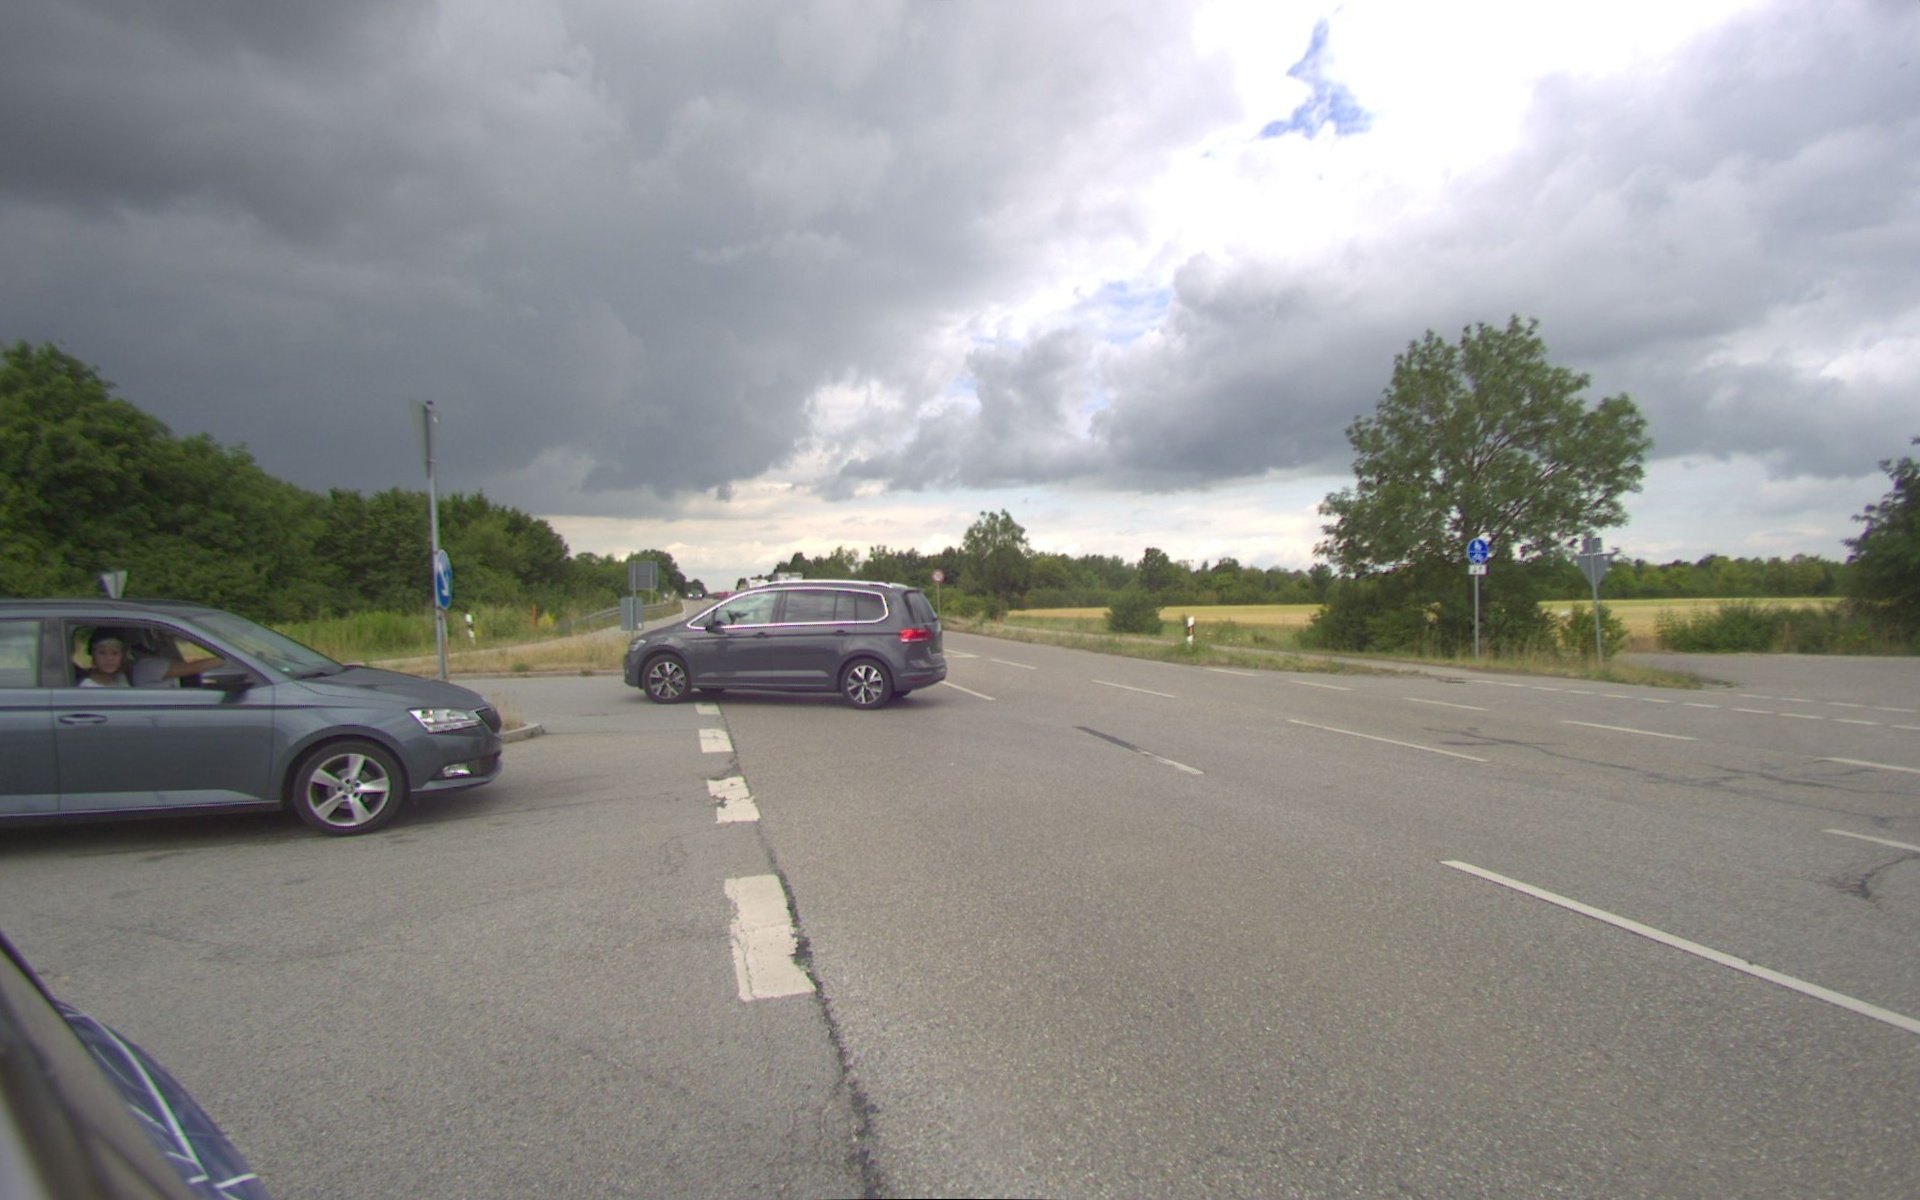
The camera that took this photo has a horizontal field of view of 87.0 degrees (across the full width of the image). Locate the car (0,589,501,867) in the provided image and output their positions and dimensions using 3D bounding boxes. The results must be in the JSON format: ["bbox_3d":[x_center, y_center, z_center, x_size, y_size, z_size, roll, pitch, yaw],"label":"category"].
[{"bbox_3d":[-5.164,0.692,6.378,4.045,1.458,1.724,-1,1,-22],"label":"car"}]

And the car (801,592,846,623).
[{"bbox_3d":[-8.758,0.469,64.403,2.077,1.900,5.406,0,0,-16],"label":"car"}]

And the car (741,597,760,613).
[{"bbox_3d":[-23.772,0.542,114.877,1.826,1.763,4.012,-1,0,-16],"label":"car"}]

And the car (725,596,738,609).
[{"bbox_3d":[-37.054,0.373,163.845,1.767,2.029,4.012,-1,0,-17],"label":"car"}]

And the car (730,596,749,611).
[{"bbox_3d":[-30.755,0.493,141.171,2.301,1.936,4.889,-1,0,-16],"label":"car"}]

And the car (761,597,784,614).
[{"bbox_3d":[-18.205,0.521,98.077,1.817,1.536,4.011,-1,0,-15],"label":"car"}]

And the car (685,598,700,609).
[{"bbox_3d":[-38.532,0.450,145.580,1.966,1.493,4.012,-1,0,-16],"label":"car"}]

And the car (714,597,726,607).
[{"bbox_3d":[-43.102,0.397,181.765,1.826,1.763,4.011,-1,0,-15],"label":"car"}]

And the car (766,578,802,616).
[{"bbox_3d":[-15.094,-0.217,86.542,2.301,3.052,6.577,2,-1,-16],"label":"car"}]

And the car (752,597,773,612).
[{"bbox_3d":[-20.800,0.506,106.310,1.817,1.536,4.011,-1,0,-16],"label":"car"}]

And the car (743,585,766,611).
[{"bbox_3d":[-25.627,-0.196,125.967,2.301,3.052,6.577,-1,0,-16],"label":"car"}]

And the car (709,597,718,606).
[{"bbox_3d":[-50.063,0.375,205.529,1.826,1.763,4.011,-1,0,-15],"label":"car"}]

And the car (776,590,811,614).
[{"bbox_3d":[-12.529,0.173,75.805,1.966,1.636,4.274,2,-1,-17],"label":"car"}]

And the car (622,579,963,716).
[{"bbox_3d":[-2.207,0.577,13.733,4.247,1.671,1.747,0,-1,13],"label":"car"}]
